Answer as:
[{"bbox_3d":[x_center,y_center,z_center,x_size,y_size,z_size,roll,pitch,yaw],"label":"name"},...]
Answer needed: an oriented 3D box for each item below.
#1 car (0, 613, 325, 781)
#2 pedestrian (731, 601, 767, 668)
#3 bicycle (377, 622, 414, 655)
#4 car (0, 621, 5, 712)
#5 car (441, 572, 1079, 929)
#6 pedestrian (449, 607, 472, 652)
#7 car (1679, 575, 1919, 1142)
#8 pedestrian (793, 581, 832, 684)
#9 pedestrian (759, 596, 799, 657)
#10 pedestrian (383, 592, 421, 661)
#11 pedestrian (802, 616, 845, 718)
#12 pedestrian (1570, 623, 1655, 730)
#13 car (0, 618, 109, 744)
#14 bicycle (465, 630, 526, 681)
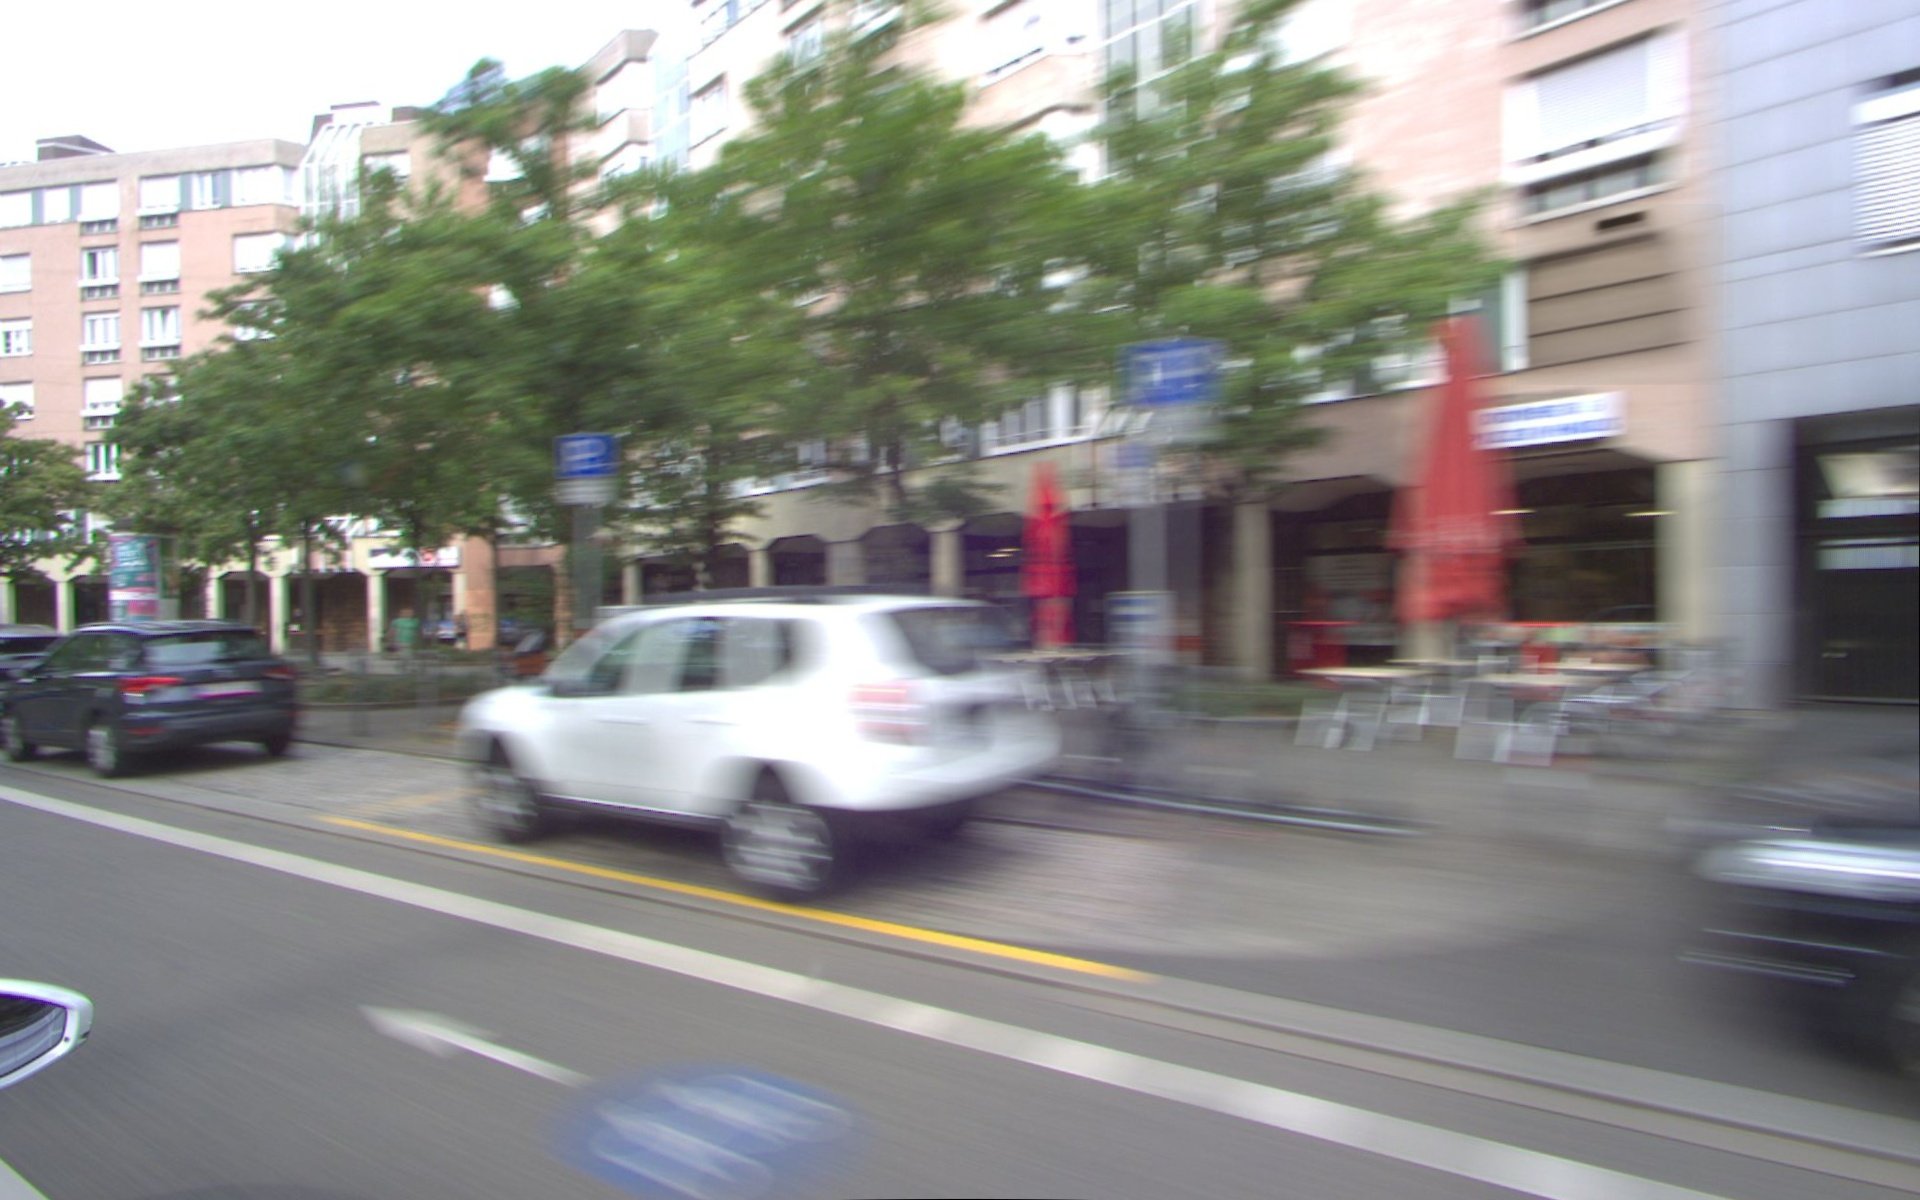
[{"bbox_3d":[-9.169,0.950,11.310,4.143,1.539,1.711,-1,1,32],"label":"car"},{"bbox_3d":[-5.394,0.876,25.602,0.674,1.684,0.602,0,0,42],"label":"pedestrian"},{"bbox_3d":[-19.967,1.342,35.466,0.586,1.127,1.962,0,-1,-12],"label":"bicycle"},{"bbox_3d":[-17.795,1.111,16.720,4.603,1.462,1.811,-1,0,35],"label":"car"},{"bbox_3d":[-1.465,0.722,6.651,4.108,1.675,1.855,-1,0,36],"label":"car"},{"bbox_3d":[-18.873,1.112,37.844,0.842,1.684,0.530,0,0,45],"label":"pedestrian"},{"bbox_3d":[4.473,0.702,2.521,4.252,1.598,1.767,-1,1,39],"label":"car"},{"bbox_3d":[-2.325,0.502,15.760,0.508,1.590,0.478,0,0,-22],"label":"pedestrian"},{"bbox_3d":[-4.771,0.695,26.387,0.705,1.576,0.791,-1,1,-44],"label":"pedestrian"},{"bbox_3d":[-13.229,0.633,23.724,0.674,1.607,0.602,0,0,42],"label":"pedestrian"},{"bbox_3d":[-2.042,0.987,14.971,0.408,1.498,0.499,0,0,40],"label":"pedestrian"},{"bbox_3d":[7.561,0.856,11.603,0.692,1.172,0.816,0,0,44],"label":"pedestrian"},{"bbox_3d":[-13.598,1.036,13.787,4.340,1.539,1.735,-1,1,34],"label":"car"},{"bbox_3d":[-9.824,1.159,21.139,1.841,1.026,0.483,-1,-1,42],"label":"bicycle"}]
